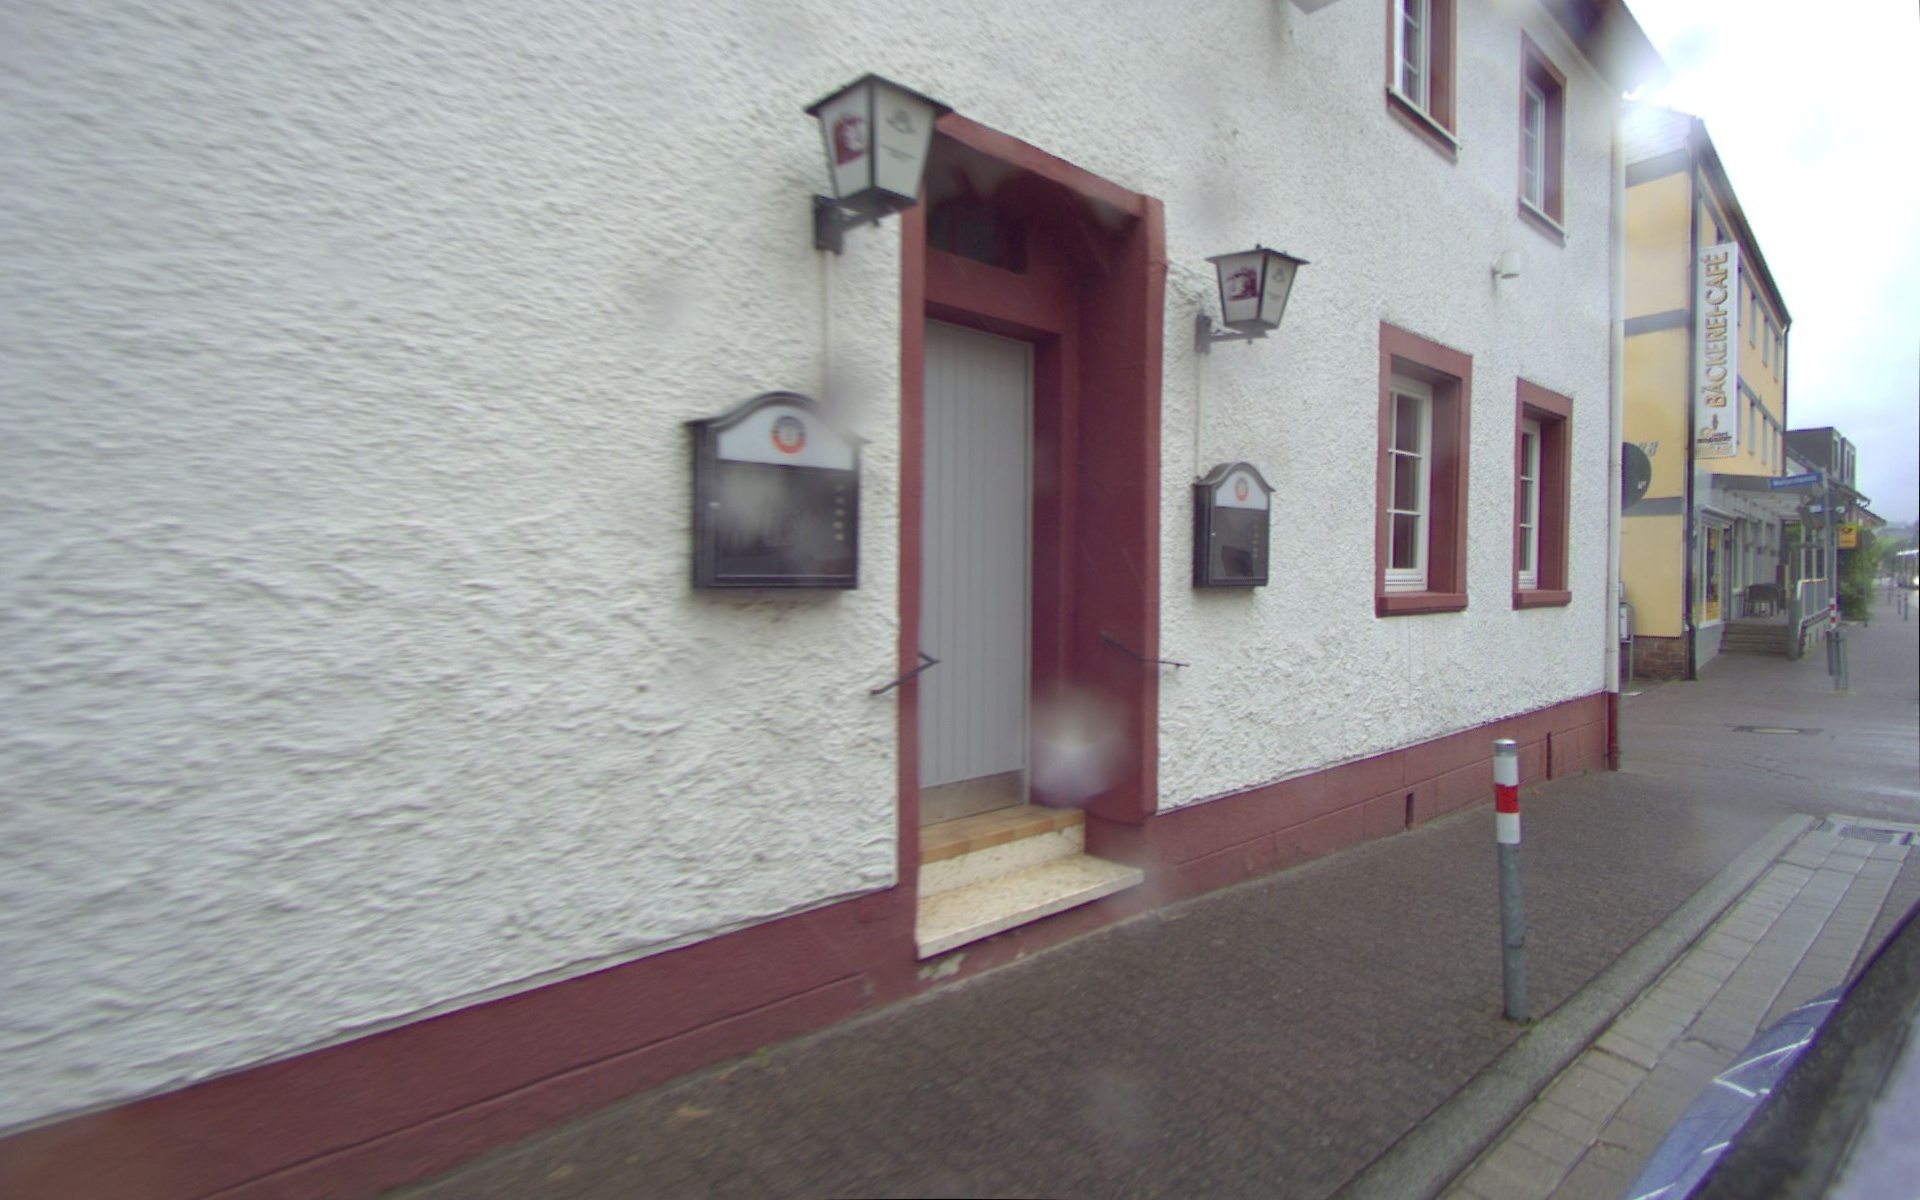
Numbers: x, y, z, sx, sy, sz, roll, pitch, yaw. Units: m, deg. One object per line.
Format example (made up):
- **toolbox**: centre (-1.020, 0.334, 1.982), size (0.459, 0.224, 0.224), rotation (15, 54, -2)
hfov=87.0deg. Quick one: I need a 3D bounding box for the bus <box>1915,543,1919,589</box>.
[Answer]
- **bus**: centre (78.192, -2.737, 80.345), size (2.882, 3.654, 11.806), rotation (1, 2, 41)
